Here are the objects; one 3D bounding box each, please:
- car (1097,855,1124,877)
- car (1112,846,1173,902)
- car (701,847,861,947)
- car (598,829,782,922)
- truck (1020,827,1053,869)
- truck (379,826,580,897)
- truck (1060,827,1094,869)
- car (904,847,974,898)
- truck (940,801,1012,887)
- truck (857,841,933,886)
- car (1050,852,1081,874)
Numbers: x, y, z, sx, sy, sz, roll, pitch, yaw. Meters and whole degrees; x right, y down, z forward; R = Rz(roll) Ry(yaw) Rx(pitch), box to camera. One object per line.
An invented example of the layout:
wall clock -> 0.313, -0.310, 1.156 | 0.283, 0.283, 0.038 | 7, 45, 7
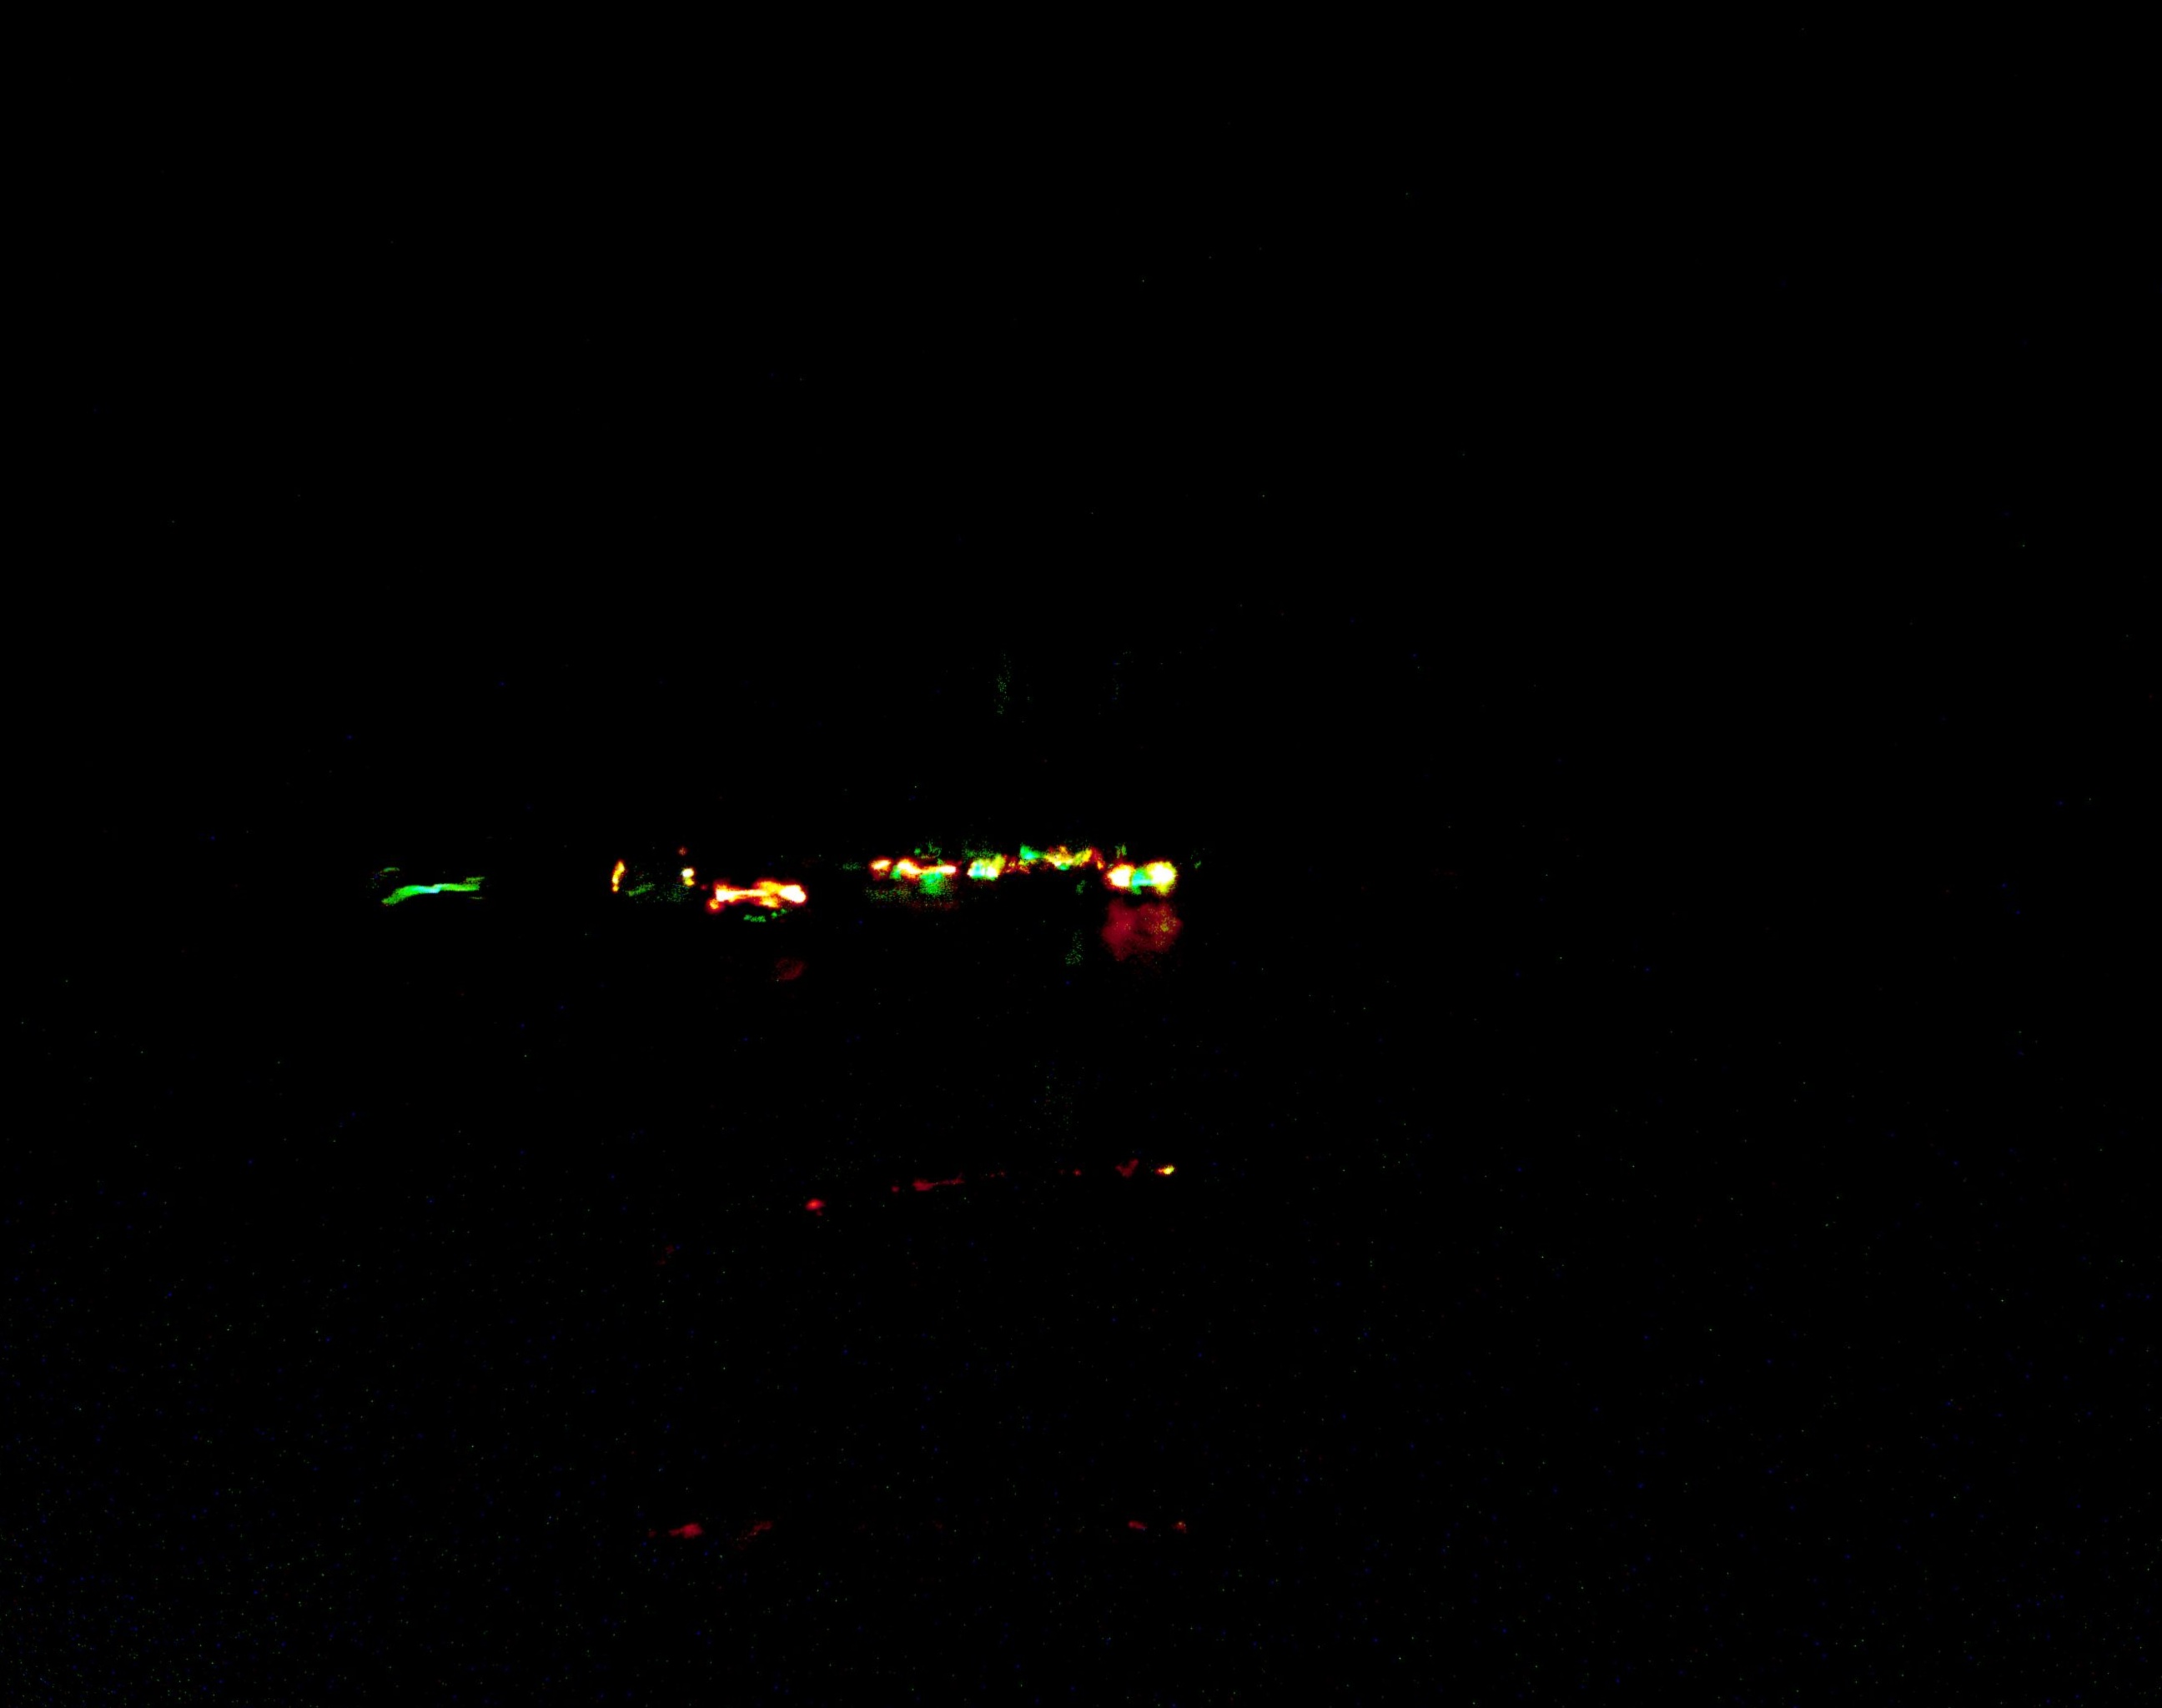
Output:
car -> 2.267, 0.908, 63.330 | 1.986, 1.704, 4.459 | 0, 0, 1
car -> 2.001, 0.640, 27.636 | 1.871, 1.762, 4.001 | 0, 0, 1
car -> -5.637, 0.712, 15.863 | 1.761, 1.689, 3.996 | -1, 1, -2
car -> -9.994, 0.491, 21.480 | 2.116, 2.104, 5.628 | -1, 0, 0
truck -> -6.009, -0.808, 111.311 | 4.244, 5.444, 10.873 | 0, 0, -3
truck -> -26.311, 0.320, 36.282 | 2.888, 2.846, 7.749 | 0, 0, 3
truck -> -0.653, -0.711, 106.607 | 4.151, 5.215, 9.946 | 0, 0, -2
car -> -5.222, 0.639, 30.504 | 2.034, 1.761, 4.511 | 0, 0, -3
truck -> -6.242, -0.531, 50.125 | 3.648, 4.737, 9.840 | 0, 0, -3
truck -> -9.837, 0.486, 43.660 | 2.850, 2.201, 5.854 | 0, 0, -2
car -> -1.451, 0.849, 79.013 | 2.823, 2.014, 5.511 | 0, 0, 1
